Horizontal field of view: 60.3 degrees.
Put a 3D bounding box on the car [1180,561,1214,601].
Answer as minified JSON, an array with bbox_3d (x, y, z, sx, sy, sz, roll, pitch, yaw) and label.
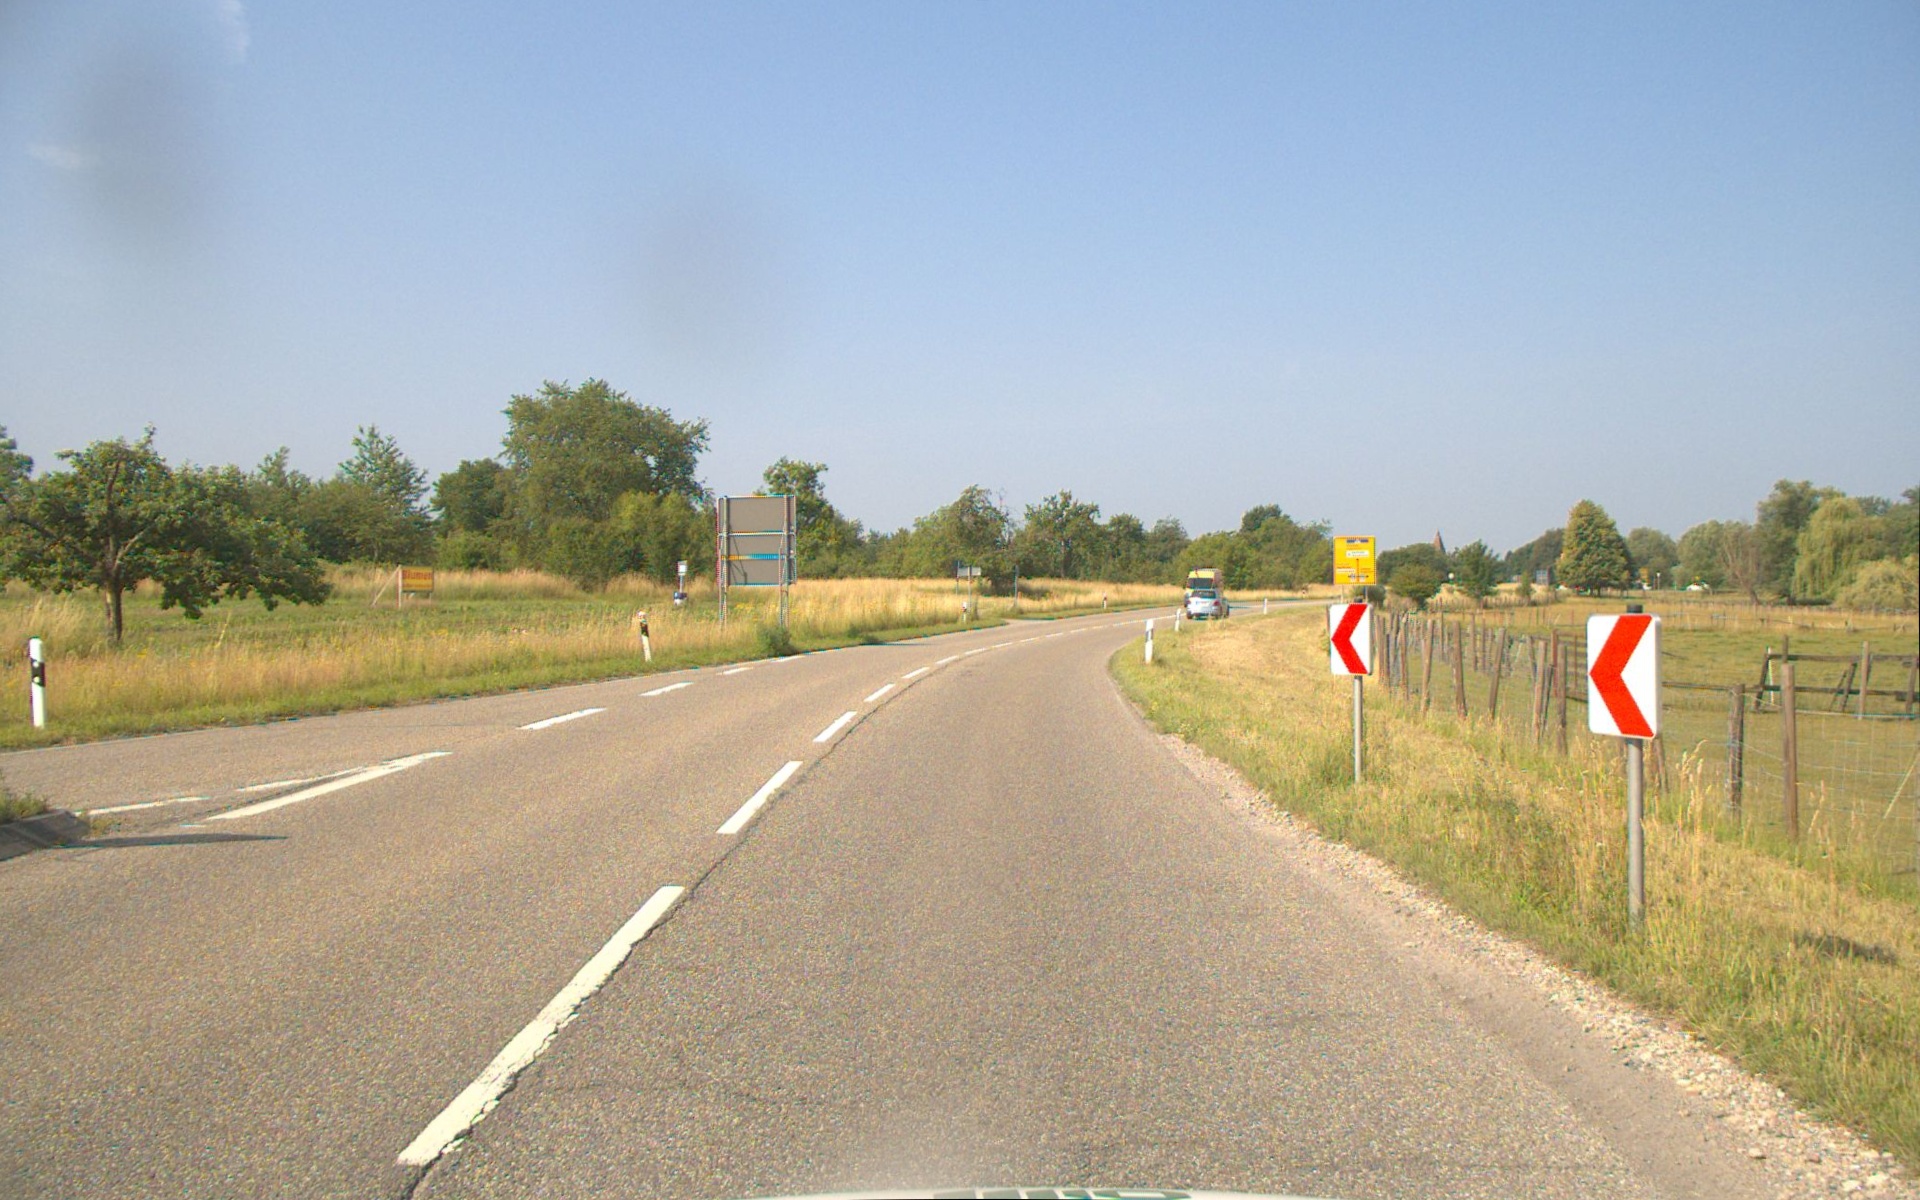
[{"bbox_3d":[16.537,-1.337,115.452,2.078,2.743,5.273,1,1,11],"label":"car"}]

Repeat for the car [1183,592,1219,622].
[{"bbox_3d":[12.972,0.350,88.945,1.858,1.538,4.003,1,0,8],"label":"car"}]
